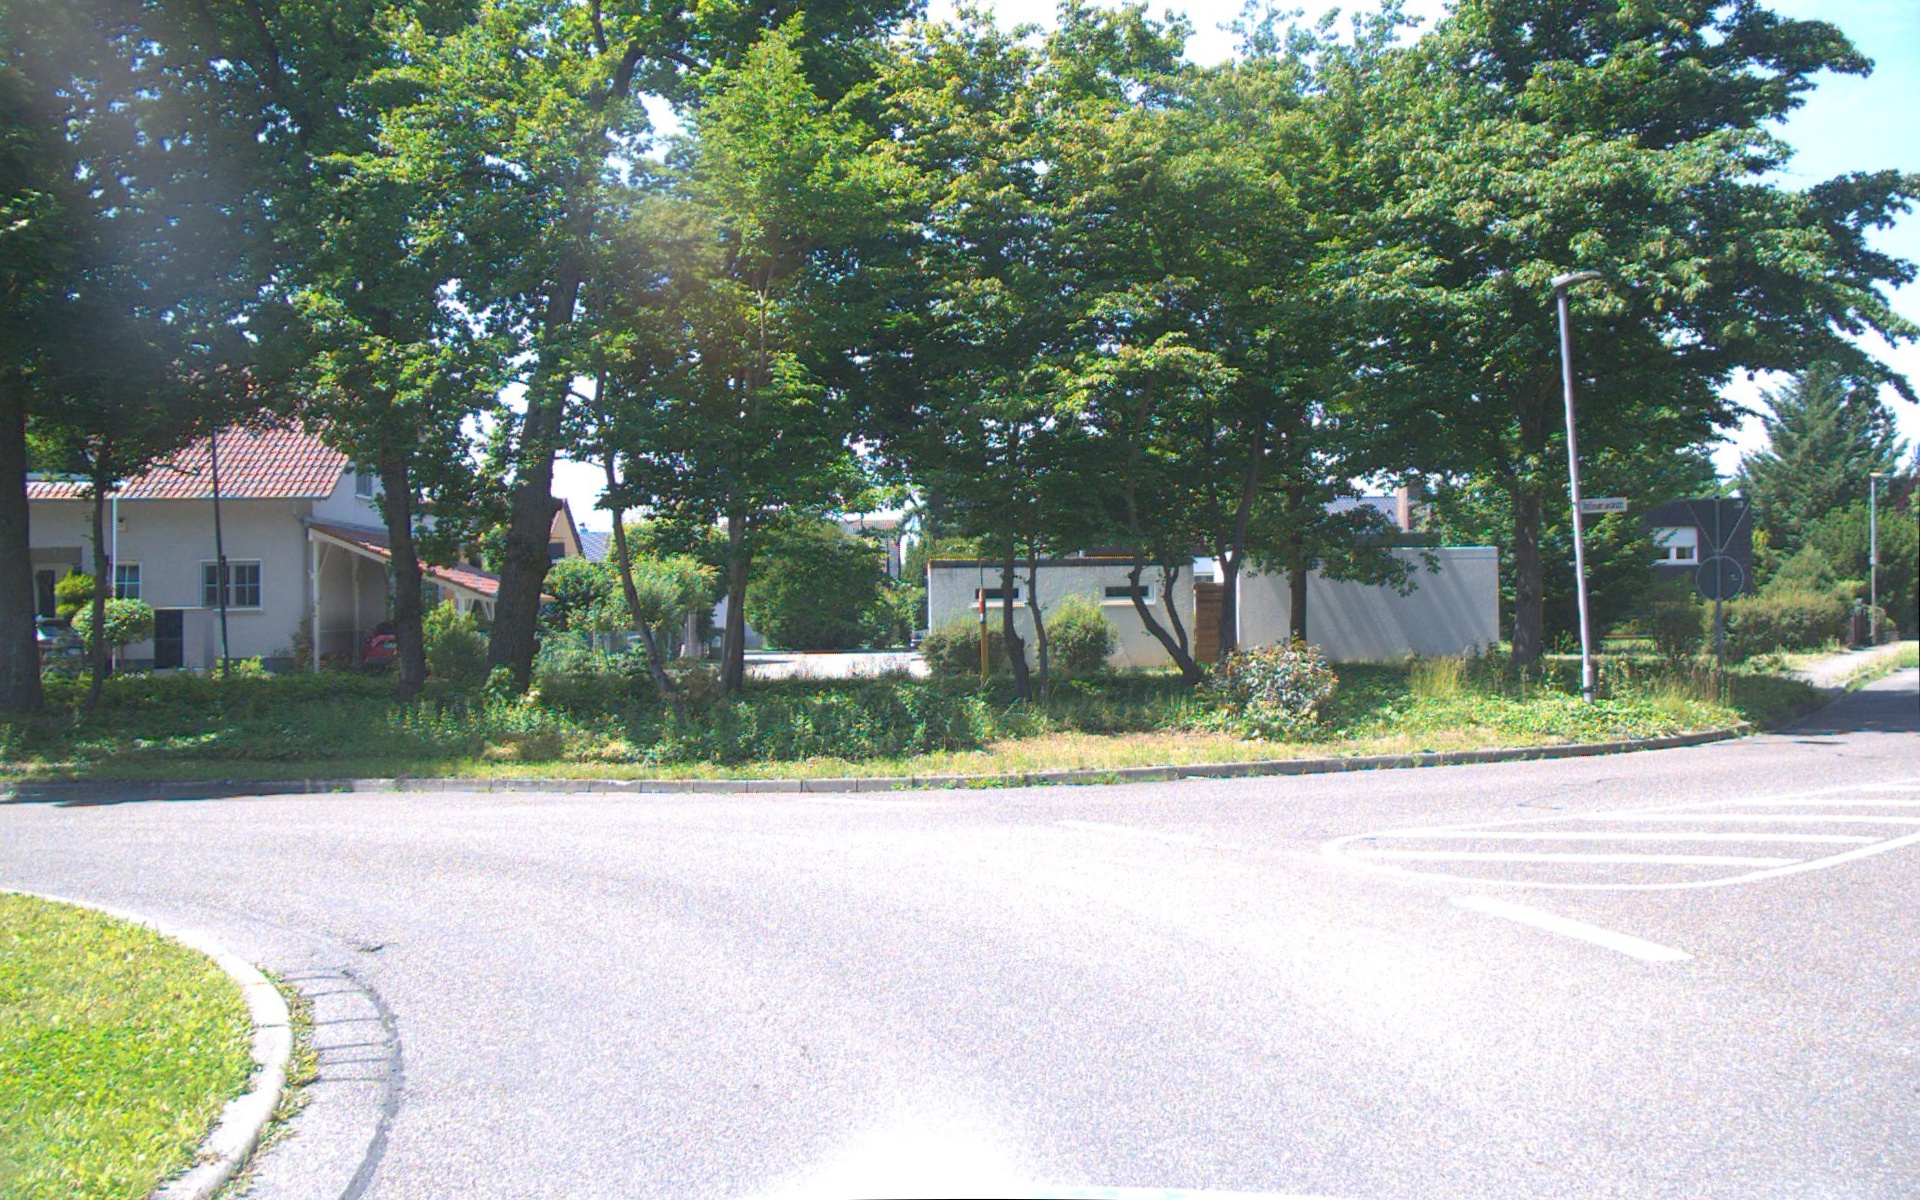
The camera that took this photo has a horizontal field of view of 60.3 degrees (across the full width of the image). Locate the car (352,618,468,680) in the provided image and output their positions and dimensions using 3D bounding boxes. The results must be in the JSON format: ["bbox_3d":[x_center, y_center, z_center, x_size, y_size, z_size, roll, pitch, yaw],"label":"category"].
[{"bbox_3d":[-13.483,1.180,40.742,1.645,1.410,3.693,-1,0,-1],"label":"car"}]

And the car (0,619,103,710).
[{"bbox_3d":[-19.513,1.284,32.892,4.049,1.735,1.664,-1,-1,-5],"label":"car"}]

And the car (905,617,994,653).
[{"bbox_3d":[-0.400,1.287,61.535,3.204,1.275,1.572,-1,0,-5],"label":"car"}]

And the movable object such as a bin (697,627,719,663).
[{"bbox_3d":[-8.194,1.465,53.804,0.644,1.132,0.456,-1,-1,-5],"label":"movable object such as a bin"}]
